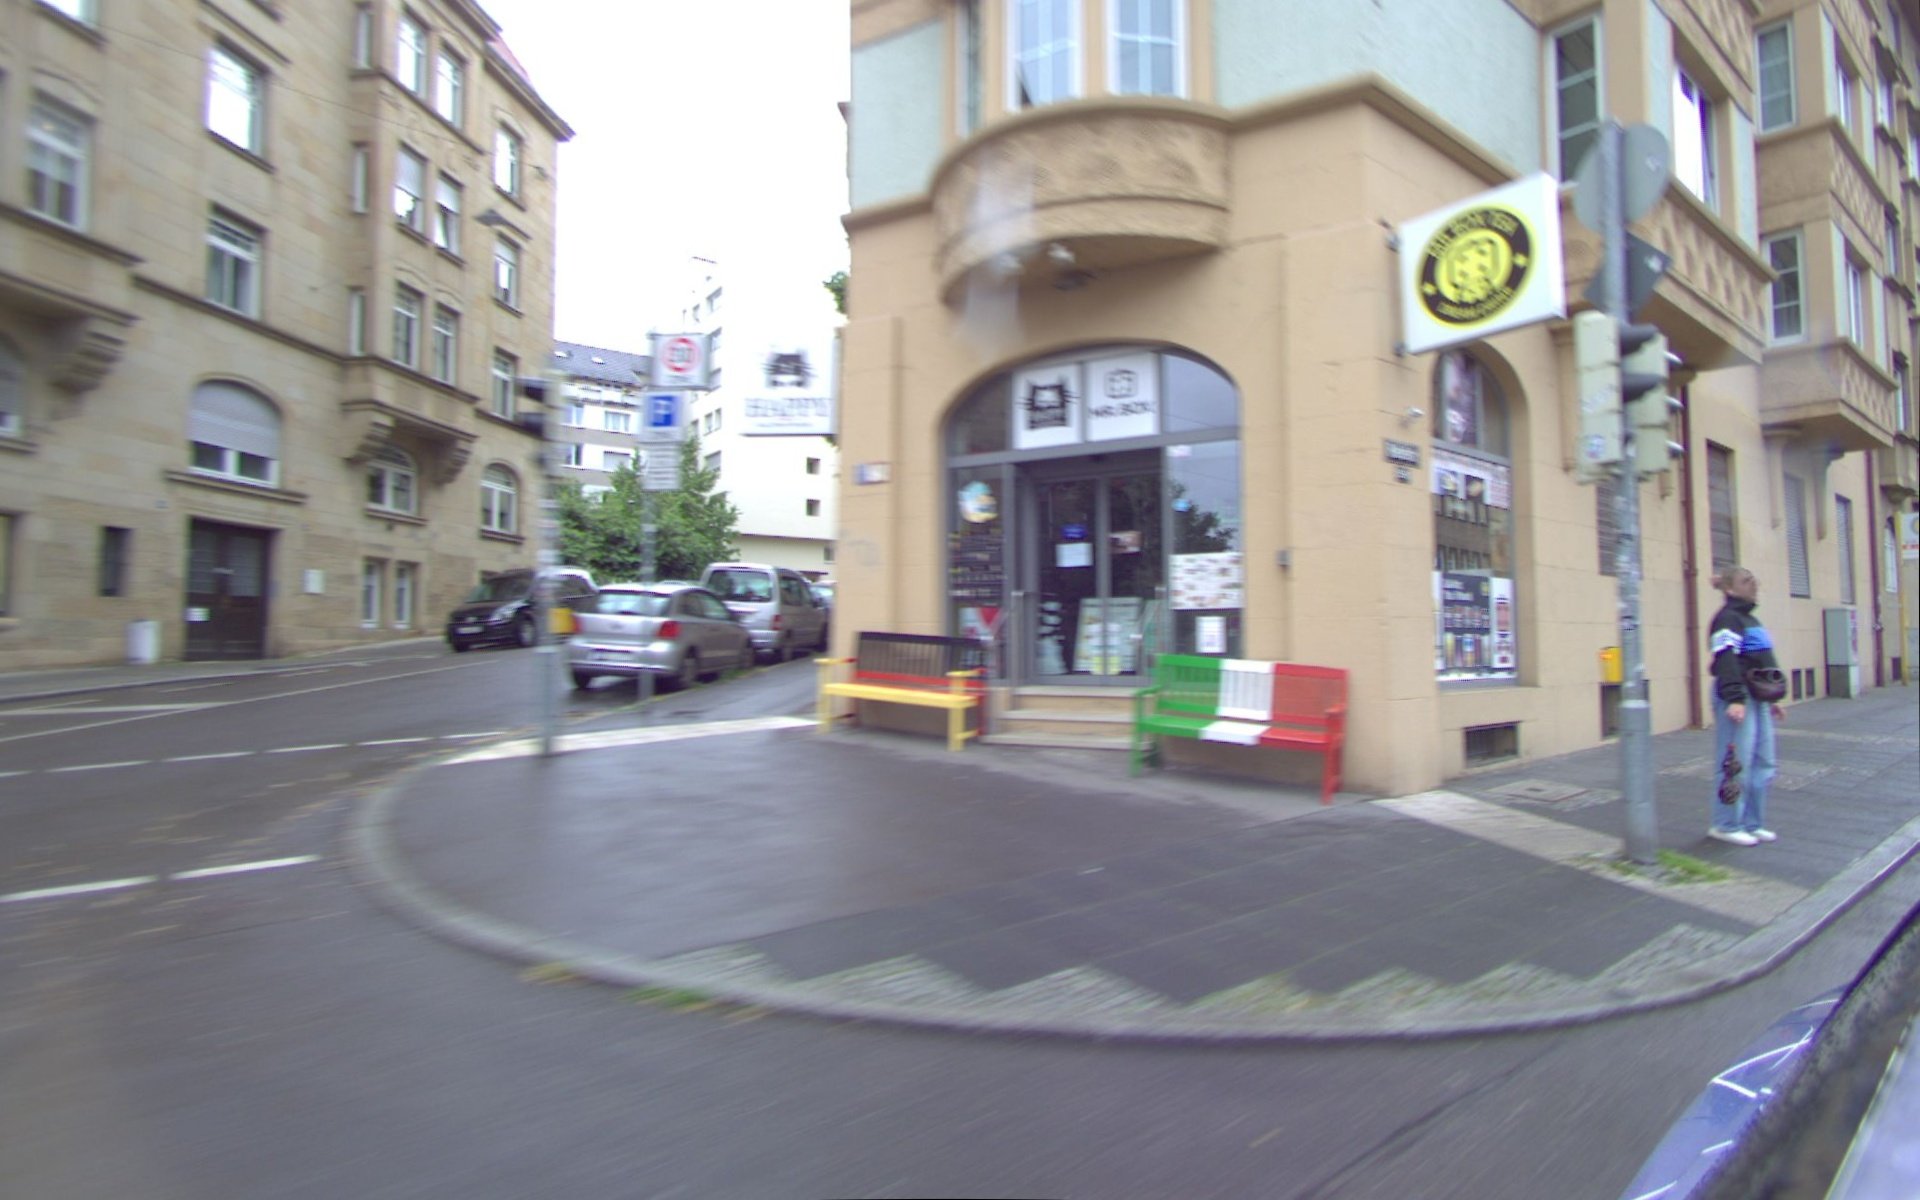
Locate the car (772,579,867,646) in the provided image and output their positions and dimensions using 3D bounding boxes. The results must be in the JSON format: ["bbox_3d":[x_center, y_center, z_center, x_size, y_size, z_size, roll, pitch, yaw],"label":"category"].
[{"bbox_3d":[-3.203,0.265,23.662,1.422,1.443,3.293,-1,0,6],"label":"car"}]

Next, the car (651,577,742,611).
[{"bbox_3d":[-12.773,-0.278,49.169,3.935,1.502,1.738,-2,-2,10],"label":"car"}]

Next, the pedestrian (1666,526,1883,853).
[{"bbox_3d":[5.084,0.488,6.407,0.962,1.863,0.891,2,1,35],"label":"pedestrian"}]

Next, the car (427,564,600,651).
[{"bbox_3d":[-10.299,0.129,23.748,1.716,1.747,4.350,-4,0,6],"label":"car"}]

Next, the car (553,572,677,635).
[{"bbox_3d":[-9.807,0.083,29.121,1.717,1.528,3.992,-5,0,7],"label":"car"}]

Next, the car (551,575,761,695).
[{"bbox_3d":[-4.232,0.428,14.661,1.662,1.478,3.528,1,0,6],"label":"car"}]

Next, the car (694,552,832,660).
[{"bbox_3d":[-3.660,0.118,19.338,1.578,1.868,3.547,-1,0,7],"label":"car"}]
